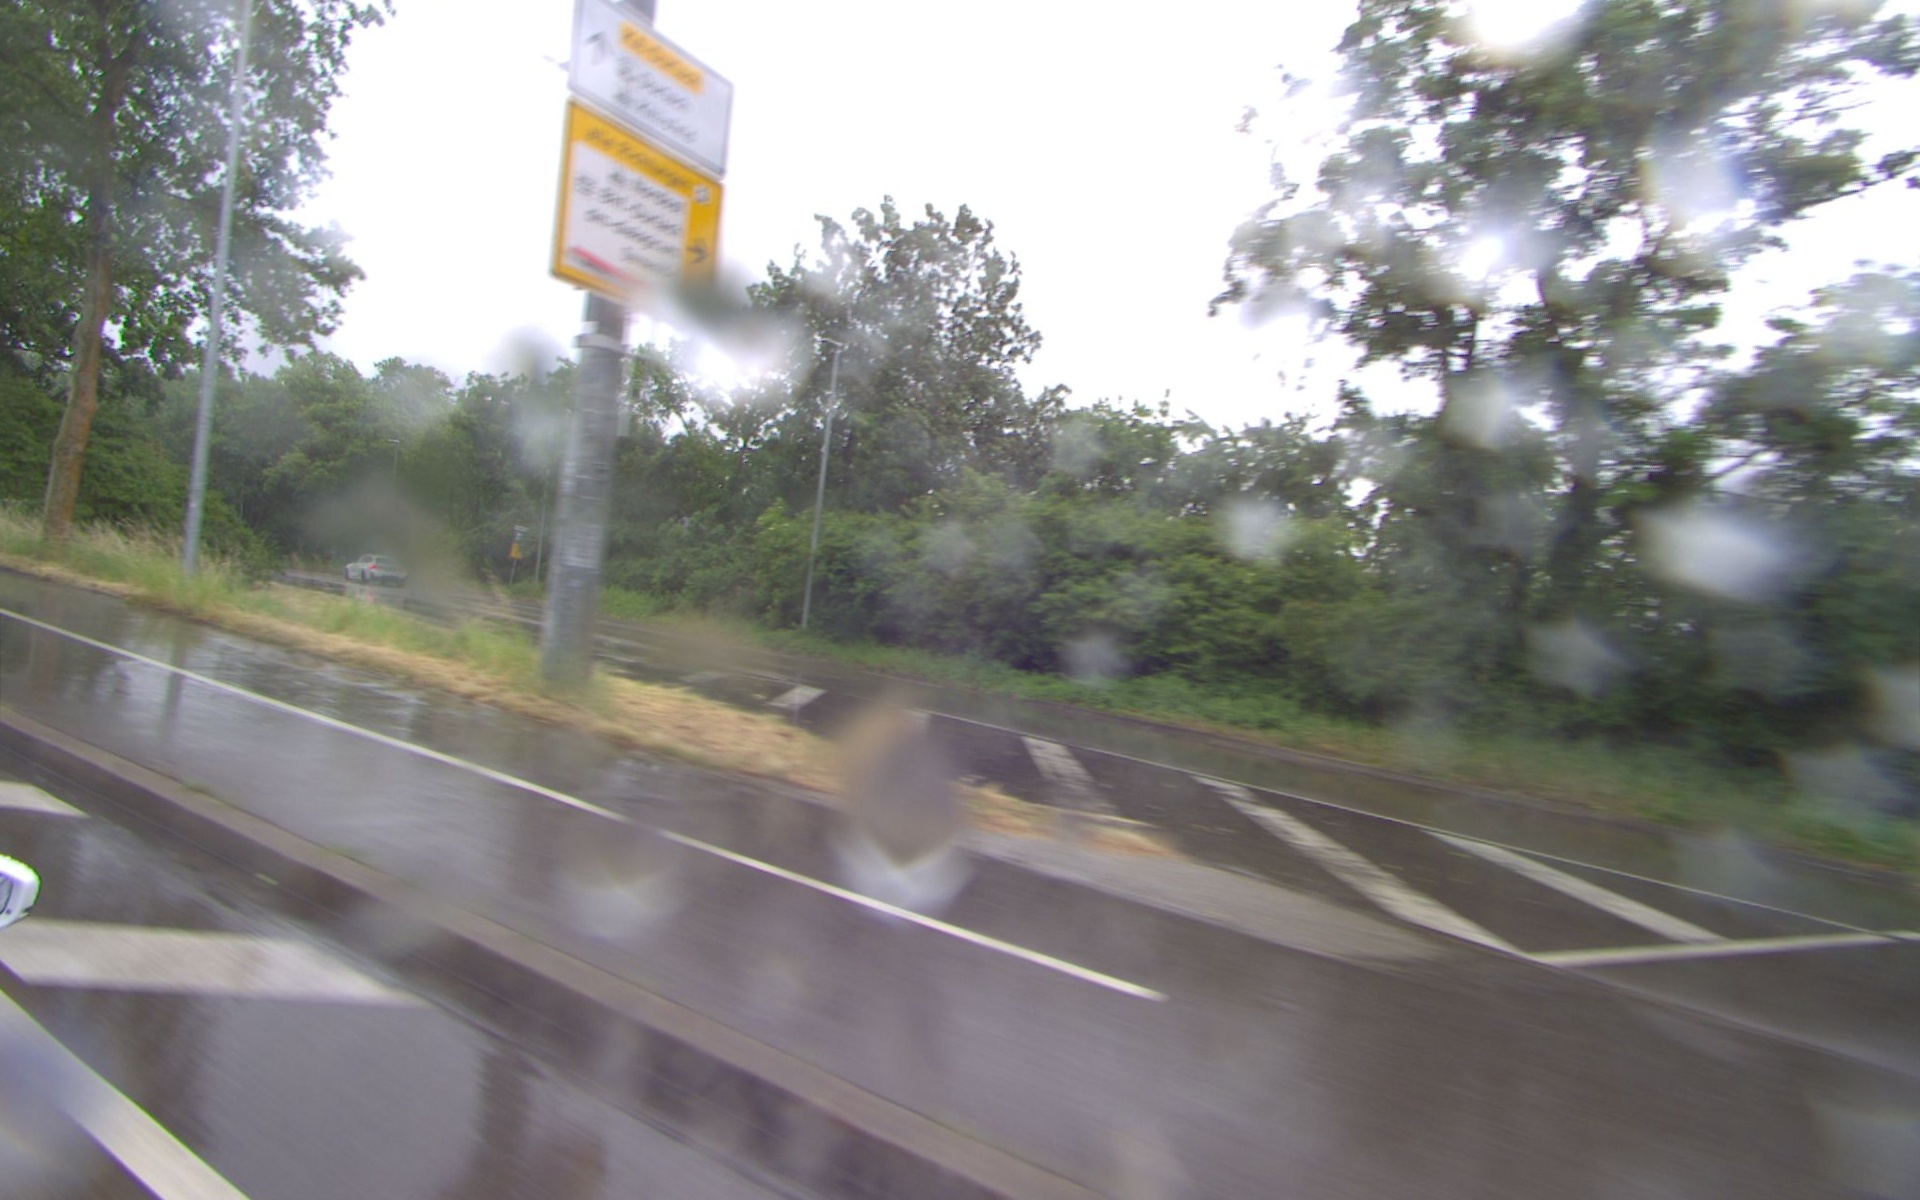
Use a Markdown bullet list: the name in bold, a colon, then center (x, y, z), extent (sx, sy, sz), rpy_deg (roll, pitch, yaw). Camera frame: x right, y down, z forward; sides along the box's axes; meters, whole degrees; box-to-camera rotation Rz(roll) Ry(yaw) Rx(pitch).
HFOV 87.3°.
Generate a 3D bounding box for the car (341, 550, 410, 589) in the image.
- **car**: center (-28.407, -1.496, 48.832), extent (1.883, 1.448, 3.950), rpy_deg (7, -1, -44)
